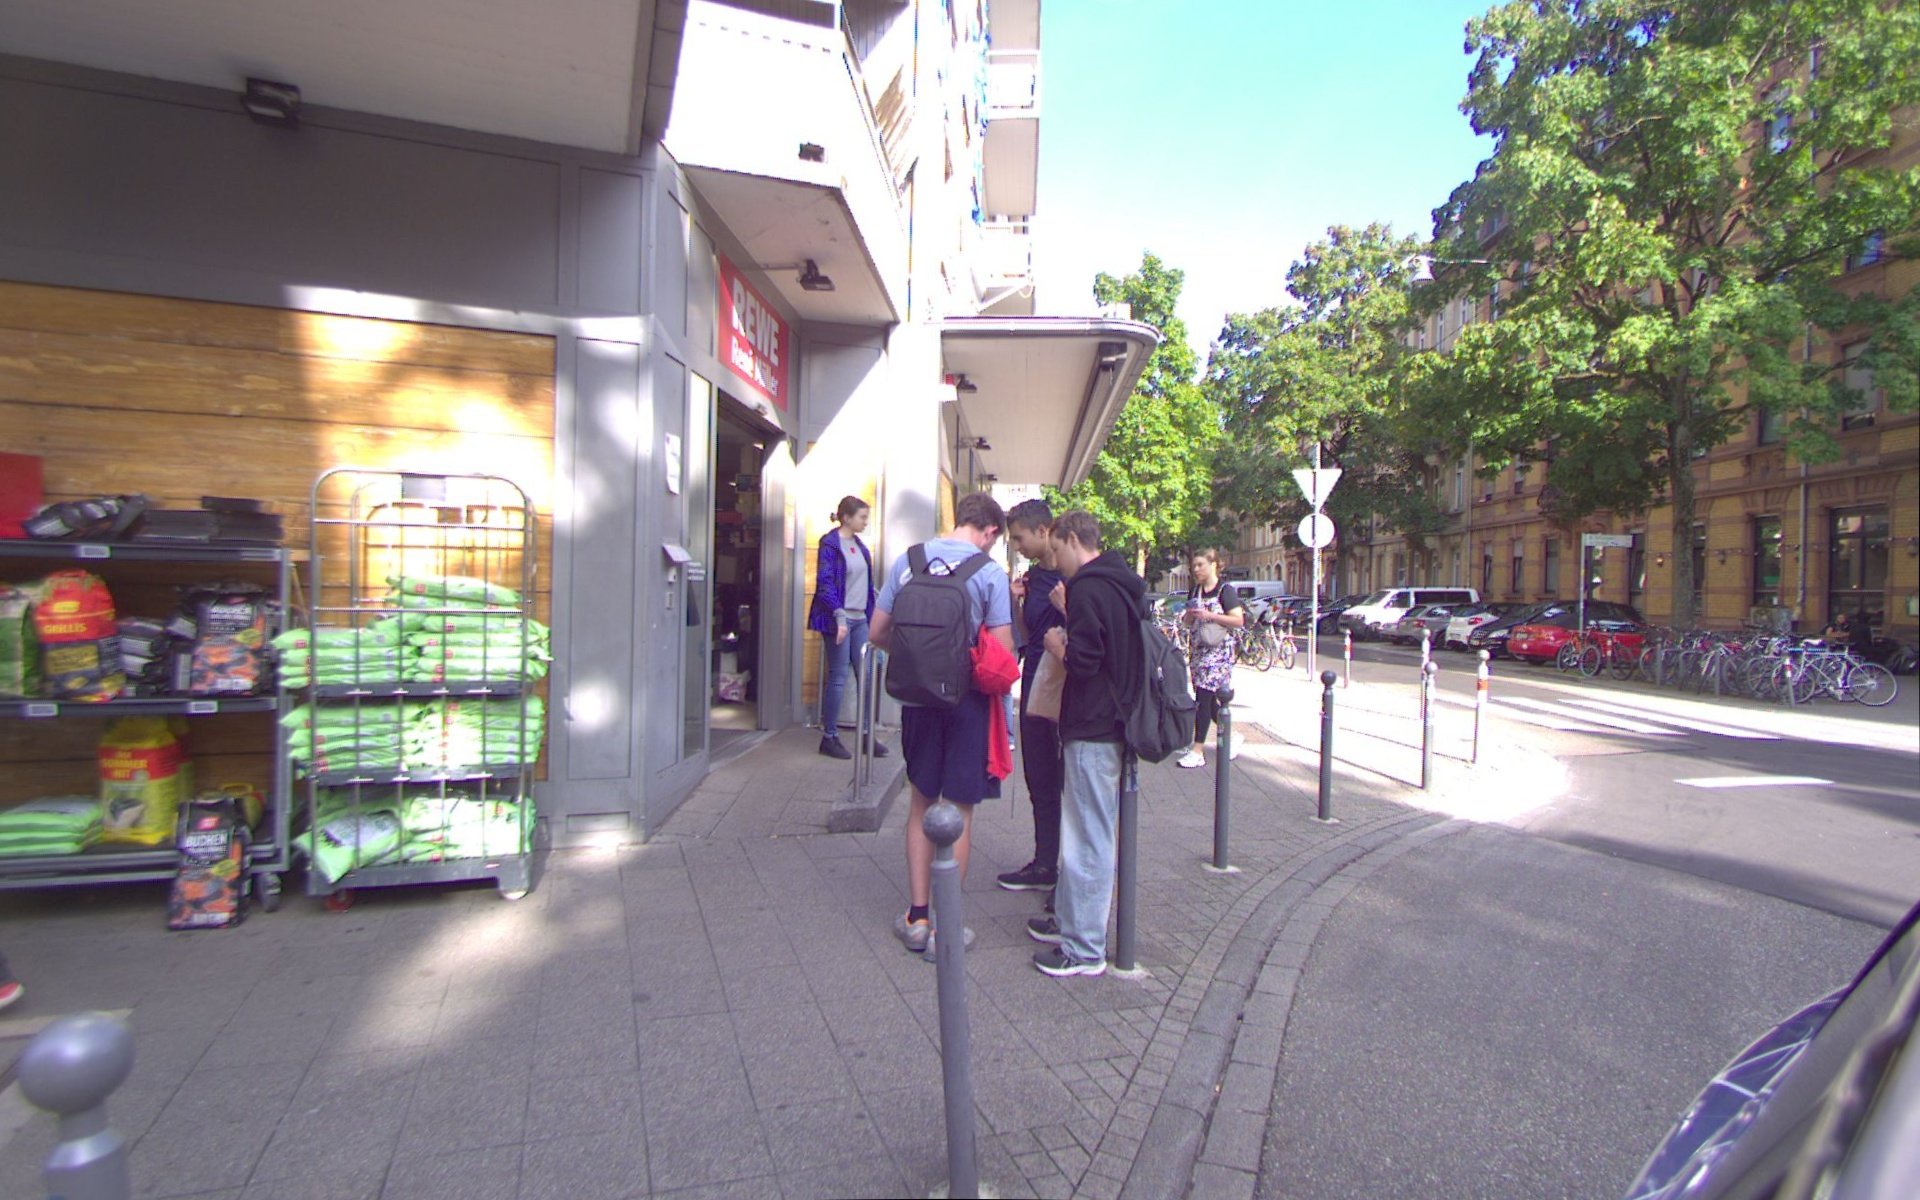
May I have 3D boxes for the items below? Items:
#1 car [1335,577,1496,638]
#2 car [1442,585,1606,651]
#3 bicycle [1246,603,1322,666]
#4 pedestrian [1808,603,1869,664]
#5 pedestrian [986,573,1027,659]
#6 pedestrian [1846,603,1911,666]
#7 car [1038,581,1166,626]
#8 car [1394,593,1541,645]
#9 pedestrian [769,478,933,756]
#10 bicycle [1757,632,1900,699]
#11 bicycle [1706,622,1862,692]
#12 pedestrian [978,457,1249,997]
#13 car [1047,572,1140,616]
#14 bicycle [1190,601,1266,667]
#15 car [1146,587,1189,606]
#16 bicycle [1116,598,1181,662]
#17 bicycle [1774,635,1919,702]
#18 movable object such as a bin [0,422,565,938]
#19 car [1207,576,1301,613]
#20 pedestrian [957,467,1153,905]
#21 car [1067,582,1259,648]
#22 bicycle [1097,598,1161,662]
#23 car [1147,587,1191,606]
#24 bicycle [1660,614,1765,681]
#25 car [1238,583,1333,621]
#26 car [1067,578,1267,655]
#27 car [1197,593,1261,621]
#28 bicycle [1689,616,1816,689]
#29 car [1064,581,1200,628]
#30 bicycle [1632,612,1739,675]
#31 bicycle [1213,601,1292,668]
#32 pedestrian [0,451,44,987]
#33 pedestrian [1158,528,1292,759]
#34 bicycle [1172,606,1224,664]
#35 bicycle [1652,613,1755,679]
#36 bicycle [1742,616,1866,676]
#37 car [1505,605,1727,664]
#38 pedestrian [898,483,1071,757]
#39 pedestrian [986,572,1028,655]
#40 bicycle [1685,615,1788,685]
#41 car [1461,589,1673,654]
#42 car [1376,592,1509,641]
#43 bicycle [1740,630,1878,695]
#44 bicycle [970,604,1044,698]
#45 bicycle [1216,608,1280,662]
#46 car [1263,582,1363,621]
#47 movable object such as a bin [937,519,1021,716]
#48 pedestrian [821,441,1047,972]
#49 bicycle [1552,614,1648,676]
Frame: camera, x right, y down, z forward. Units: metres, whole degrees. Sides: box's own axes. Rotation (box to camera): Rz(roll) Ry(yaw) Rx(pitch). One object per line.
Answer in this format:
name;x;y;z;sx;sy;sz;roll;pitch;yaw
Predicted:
car;16.351;0.242;36.521;4.821;2.014;2.046;-2;1;2
car;16.044;0.498;28.953;3.645;1.743;1.857;1;-1;7
bicycle;6.660;0.680;20.911;0.404;1.190;1.857;2;0;-20
pedestrian;19.354;0.735;22.305;0.755;1.301;0.629;-1;0;3
pedestrian;0.844;0.284;18.493;0.655;1.525;0.754;1;0;-1
pedestrian;19.433;0.729;21.425;0.755;1.301;0.629;-1;0;3
car;5.392;0.148;38.388;4.532;1.514;1.754;2;0;-23
car;15.608;0.594;31.295;3.644;1.476;1.666;-1;-1;7
pedestrian;-0.726;0.098;6.947;0.915;1.775;0.763;1;0;9
bicycle;13.935;1.035;16.276;1.690;0.999;0.446;0;1;19
bicycle;13.959;0.951;17.192;2.018;1.102;0.446;0;1;19
pedestrian;0.584;0.402;3.841;0.710;1.819;0.624;5;3;35
car;7.425;-0.333;56.295;4.711;2.249;2.151;2;-1;-27
bicycle;5.201;0.635;19.746;0.404;1.190;1.857;2;0;-20
car;20.622;-0.353;100.792;3.928;1.754;1.827;1;-1;4
bicycle;3.594;0.560;19.410;0.412;1.099;1.703;2;2;-19
bicycle;13.856;1.054;15.828;1.690;0.981;0.446;0;1;19
movable object such as a bin;-2.871;0.275;4.045;2.372;1.766;0.784;1;0;-21
car;18.524;-0.347;64.039;5.386;2.229;1.997;1;-1;6
pedestrian;0.397;0.356;4.557;0.645;1.819;0.656;3;3;-7
car;5.150;0.387;25.529;4.572;1.473;1.959;2;0;-30
bicycle;3.222;0.559;19.391;0.412;1.099;1.703;2;2;-19
car;20.305;-0.380;98.461;3.928;1.754;1.827;1;-1;4
bicycle;14.150;0.891;19.045;1.679;1.216;0.448;-1;1;-3
car;17.202;0.077;53.686;4.376;1.856;1.936;-2;1;2
car;4.586;0.350;22.687;3.916;1.473;1.814;3;1;-13
car;19.182;0.501;72.279;4.054;1.898;1.997;1;-1;6
bicycle;13.920;0.905;17.811;1.690;1.216;0.446;0;1;19
car;6.171;0.177;36.277;4.532;1.514;1.754;2;0;-23
bicycle;14.354;0.847;20.051;1.684;1.216;0.447;0;1;9
bicycle;5.645;0.651;19.641;0.404;1.190;1.857;2;0;-20
pedestrian;-3.229;0.371;2.887;0.697;1.652;0.726;1;3;-22
pedestrian;2.111;0.337;8.131;0.825;1.775;0.615;1;0;-8
bicycle;4.602;0.657;19.631;0.405;1.031;1.504;2;0;-9
bicycle;14.323;0.872;19.506;1.679;1.216;0.448;-1;1;-3
bicycle;16.327;0.879;19.611;1.770;1.128;0.599;0;1;9
car;15.145;0.785;23.514;4.038;1.286;1.566;-1;-1;3
pedestrian;0.203;0.131;8.190;0.861;2.038;1.018;4;2;42
pedestrian;0.891;0.249;19.252;0.739;1.525;0.668;1;0;2
bicycle;14.171;0.901;18.487;1.677;1.216;0.449;-1;1;-9
car;15.639;0.556;26.336;4.244;1.589;2.000;-1;0;11
car;16.177;0.539;34.065;3.644;1.476;1.667;-1;1;7
bicycle;13.982;1.022;16.714;1.690;0.999;0.446;0;1;19
bicycle;0.600;0.592;12.480;0.574;1.046;1.528;3;1;14
bicycle;5.932;0.709;20.907;0.482;1.014;1.426;2;0;-20
car;17.868;0.066;51.392;4.376;1.856;1.936;-2;1;2
movable object such as a bin;0.200;0.150;10.063;0.678;1.776;1.548;3;1;2
pedestrian;-0.073;0.350;3.899;0.623;1.819;0.712;4;3;13
bicycle;13.187;0.890;20.942;0.571;1.109;2.497;-2;1;5
